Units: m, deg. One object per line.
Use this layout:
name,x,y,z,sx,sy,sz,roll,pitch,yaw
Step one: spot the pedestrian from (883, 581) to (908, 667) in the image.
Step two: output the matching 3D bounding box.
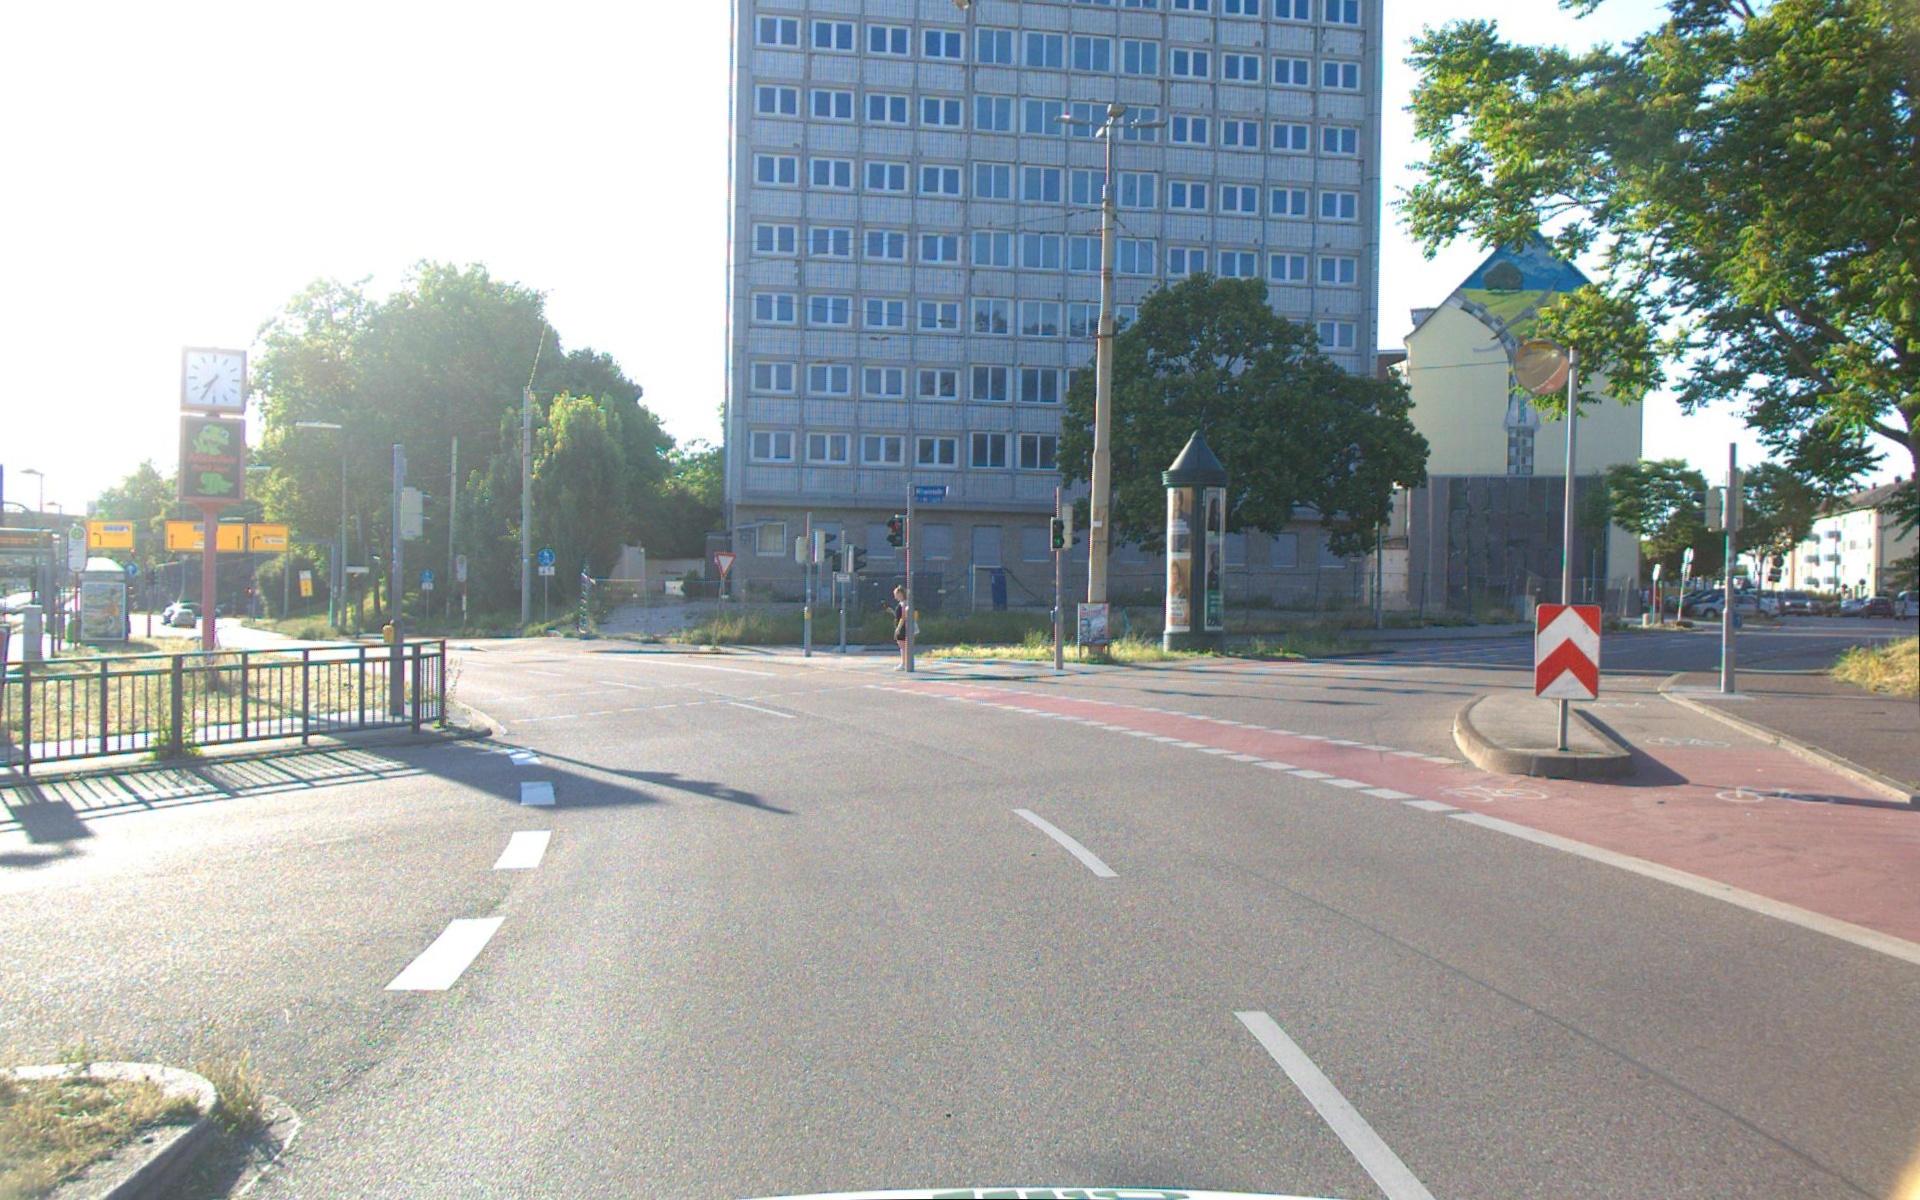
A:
pedestrian,-1.247,0.455,31.990,0.427,1.640,0.630,0,0,1

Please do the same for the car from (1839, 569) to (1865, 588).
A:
car,77.715,-1.881,144.143,1.822,1.570,3.875,0,0,26

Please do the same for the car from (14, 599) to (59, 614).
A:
car,-93.440,0.681,167.458,3.944,1.471,1.757,-1,0,-30

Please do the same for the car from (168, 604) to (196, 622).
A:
car,-66.253,1.119,140.779,2.014,1.471,3.963,0,0,-28

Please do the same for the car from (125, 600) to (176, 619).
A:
car,-92.700,1.141,189.447,4.758,2.049,1.996,1,1,-10

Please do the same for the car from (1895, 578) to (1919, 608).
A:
car,62.672,-0.483,109.037,1.824,1.937,3.993,0,0,29

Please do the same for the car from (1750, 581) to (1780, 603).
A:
car,57.004,-0.554,117.199,1.836,1.483,3.784,0,1,25

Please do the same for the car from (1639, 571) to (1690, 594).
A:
car,60.427,-1.494,141.858,3.909,1.937,1.863,0,0,26

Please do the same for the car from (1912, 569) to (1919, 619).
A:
car,41.287,-0.273,67.139,4.125,2.049,2.000,0,0,0

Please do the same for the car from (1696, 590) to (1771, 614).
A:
car,42.798,0.093,91.577,3.625,1.324,1.511,0,0,22

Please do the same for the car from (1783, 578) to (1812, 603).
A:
car,64.024,-0.737,126.365,1.824,1.937,3.993,0,0,29

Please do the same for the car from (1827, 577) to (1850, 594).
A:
car,83.469,-1.409,157.218,1.822,1.570,3.996,0,0,26

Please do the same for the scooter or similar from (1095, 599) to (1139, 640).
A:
scooter or similar,4.707,0.579,49.509,1.272,1.190,0.326,0,0,-8

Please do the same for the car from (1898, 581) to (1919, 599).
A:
car,77.319,-0.814,132.115,3.966,1.484,1.879,0,0,24

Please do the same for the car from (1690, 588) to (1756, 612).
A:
car,45.546,-0.009,98.804,3.473,1.373,1.708,0,0,21

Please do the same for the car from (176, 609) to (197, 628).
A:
car,-62.771,1.507,134.228,1.497,1.412,3.335,1,1,-26

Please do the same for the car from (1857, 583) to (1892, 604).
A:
car,69.757,-0.494,126.218,1.890,1.570,3.999,0,0,23

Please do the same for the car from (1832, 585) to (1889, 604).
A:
car,74.816,-0.447,137.441,3.966,1.484,1.879,0,0,24

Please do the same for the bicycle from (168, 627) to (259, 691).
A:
bicycle,-11.967,0.939,26.573,0.541,0.934,1.744,-1,0,4
